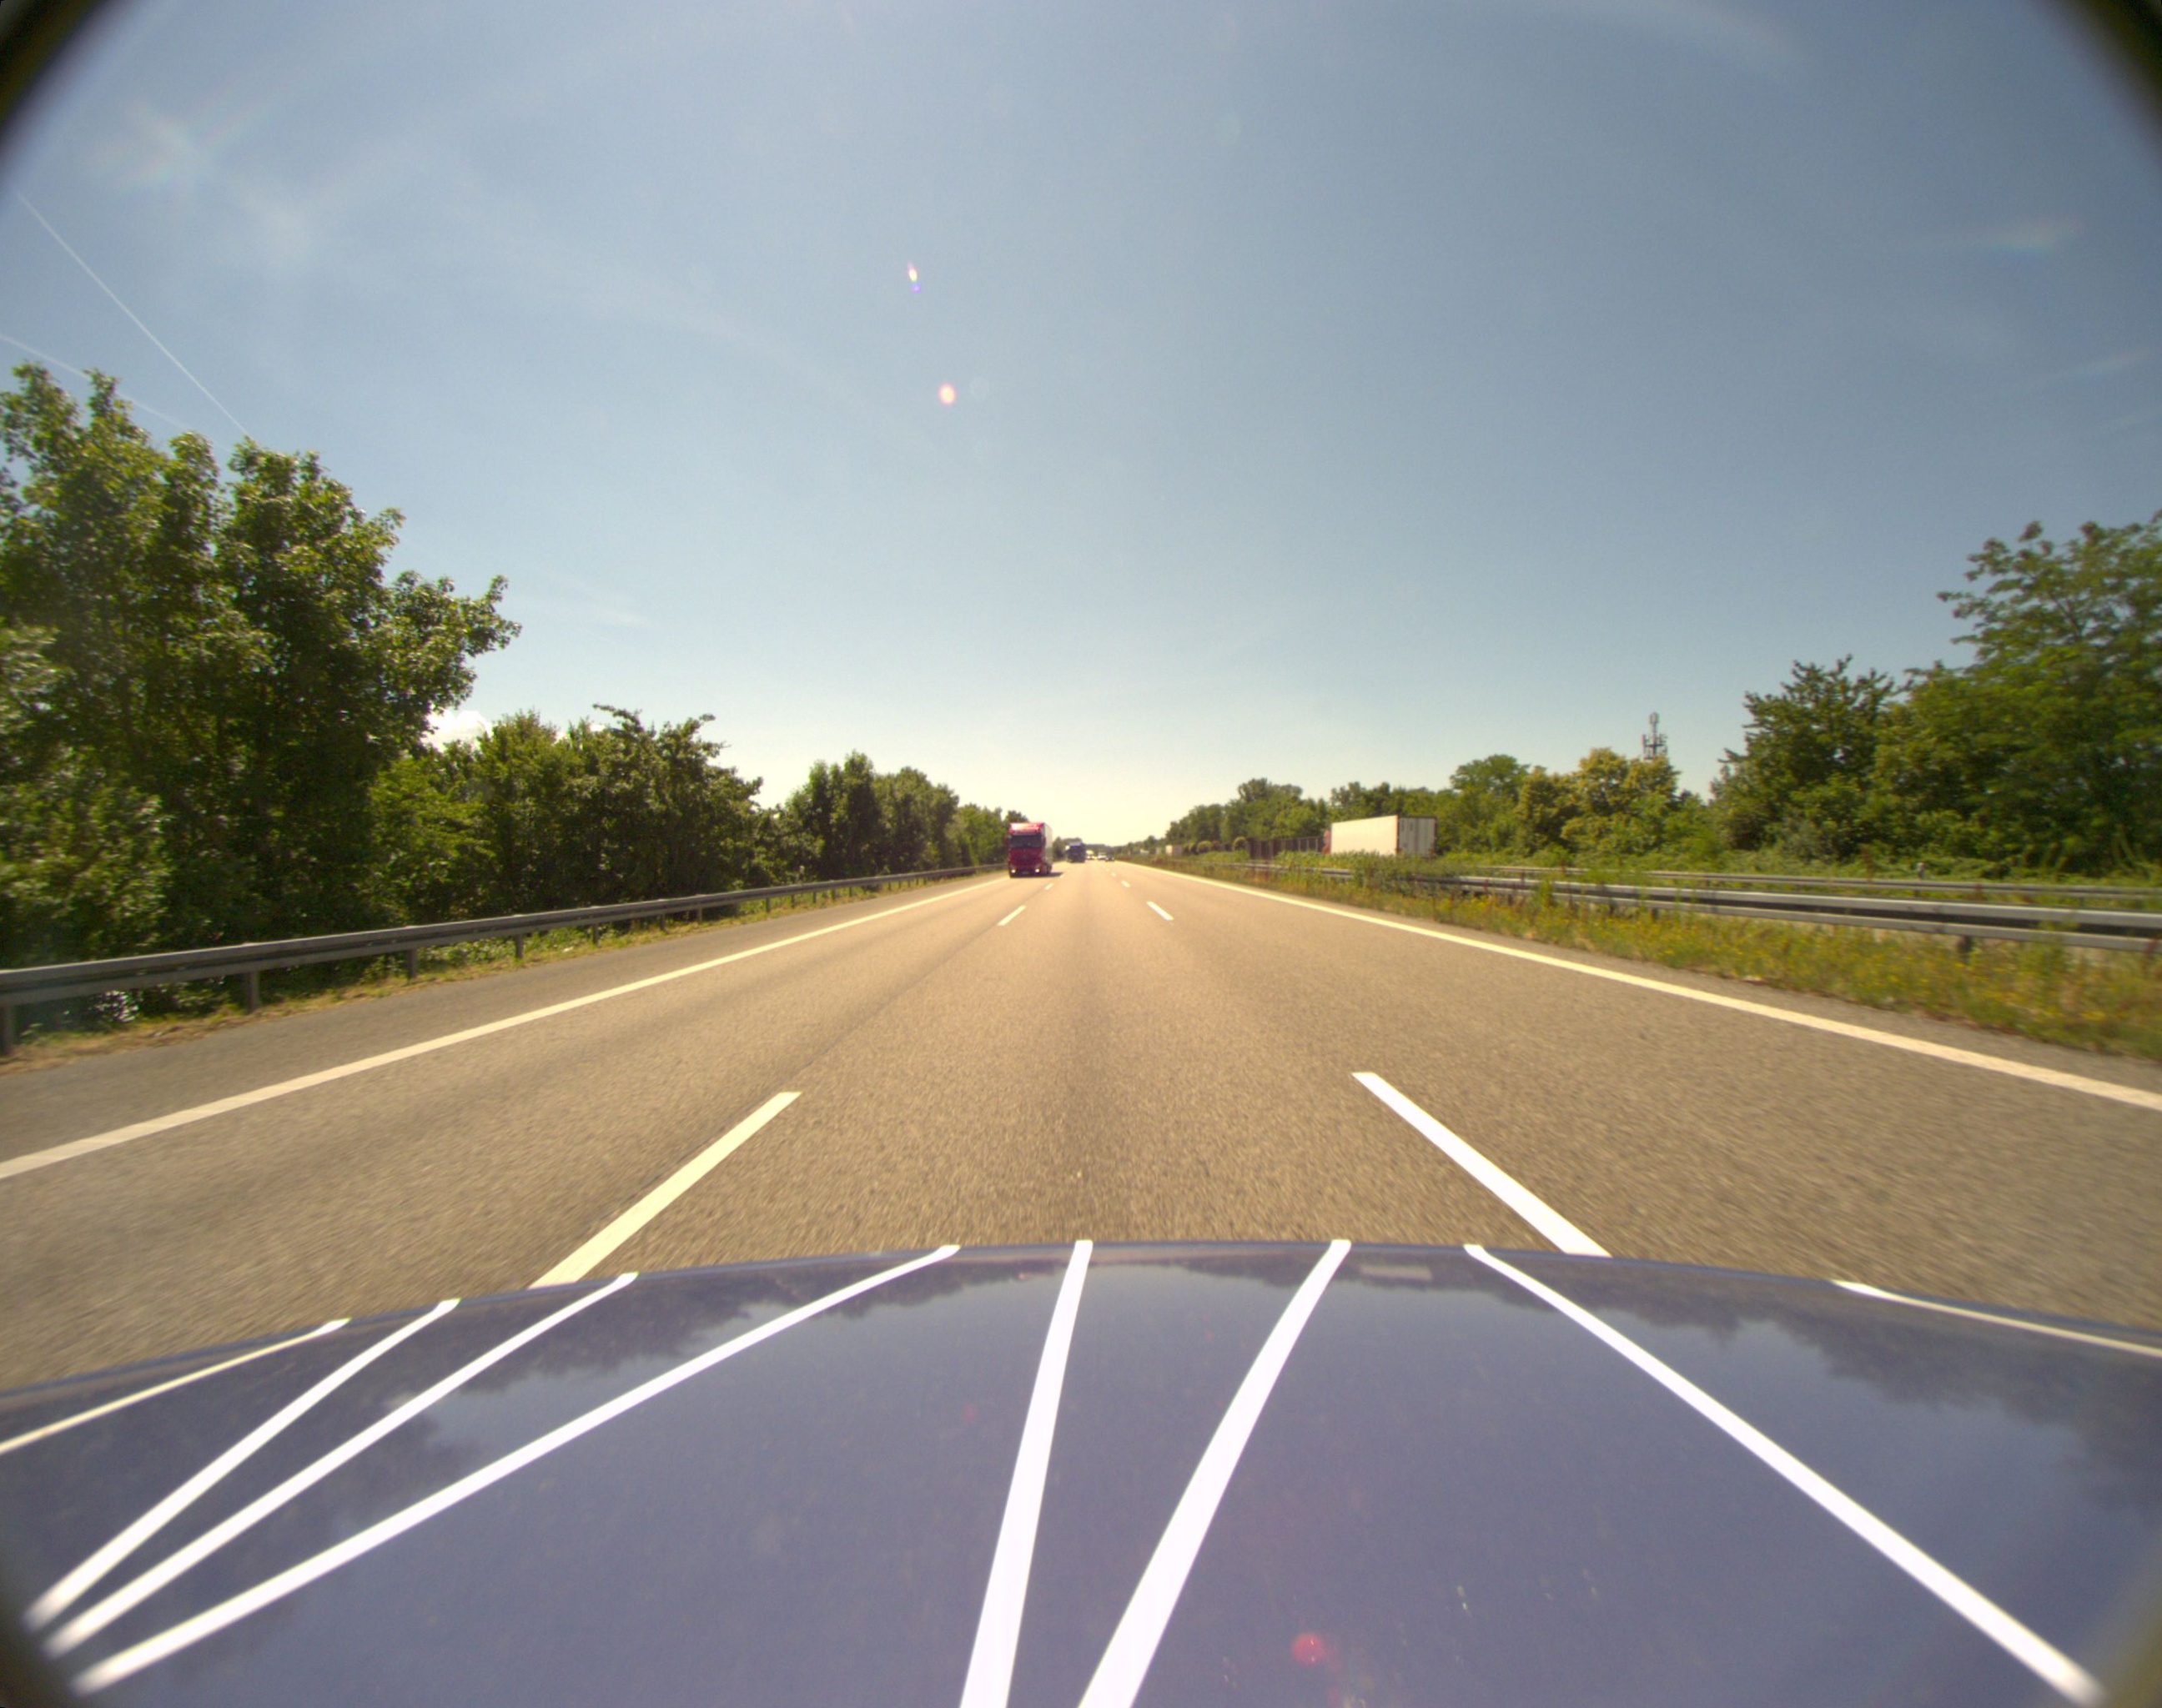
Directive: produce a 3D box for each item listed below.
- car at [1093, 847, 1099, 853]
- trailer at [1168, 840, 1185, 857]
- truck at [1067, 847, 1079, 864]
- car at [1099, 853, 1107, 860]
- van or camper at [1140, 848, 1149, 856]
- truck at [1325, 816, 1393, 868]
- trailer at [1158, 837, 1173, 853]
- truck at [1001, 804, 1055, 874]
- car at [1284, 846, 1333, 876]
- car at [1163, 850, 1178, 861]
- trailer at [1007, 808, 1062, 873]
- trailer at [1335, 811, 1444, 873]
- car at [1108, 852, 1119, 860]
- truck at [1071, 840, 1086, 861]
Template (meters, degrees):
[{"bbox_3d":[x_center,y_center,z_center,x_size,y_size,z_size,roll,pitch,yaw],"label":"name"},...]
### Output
[{"bbox_3d":[4.636,-1.229,234.884,1.855,1.559,4.000,0,0,1],"label":"car"},{"bbox_3d":[24.070,-1.275,191.929,2.849,4.149,12.222,-2,0,1],"label":"trailer"},{"bbox_3d":[-1.939,0.440,192.417,2.820,4.138,10.449,-2,-1,1],"label":"truck"},{"bbox_3d":[5.663,0.650,195.172,1.855,1.559,4.001,-2,-1,1],"label":"car"},{"bbox_3d":[19.943,-0.703,238.536,2.471,2.561,7.411,-1,0,1],"label":"van or camper"},{"bbox_3d":[22.122,-0.932,60.909,2.739,3.912,7.415,1,1,1],"label":"truck"},{"bbox_3d":[24.949,-2.603,224.926,3.174,4.451,12.952,-1,0,1],"label":"trailer"},{"bbox_3d":[-3.867,-1.029,57.186,3.242,4.860,6.973,-2,0,1],"label":"truck"},{"bbox_3d":[13.829,0.420,46.442,1.847,1.694,4.001,-2,-1,1],"label":"car"},{"bbox_3d":[14.547,0.324,124.280,1.998,1.694,4.001,-2,-1,1],"label":"car"},{"bbox_3d":[-3.698,-0.956,64.077,3.277,4.808,14.031,-2,-1,1],"label":"trailer"},{"bbox_3d":[22.007,-0.823,55.354,2.739,3.912,13.064,1,0,1],"label":"trailer"},{"bbox_3d":[6.494,0.466,153.682,2.045,1.559,4.001,-2,-1,1],"label":"car"},{"bbox_3d":[-0.556,-0.642,148.586,2.707,4.093,6.991,-2,0,0],"label":"truck"}]
